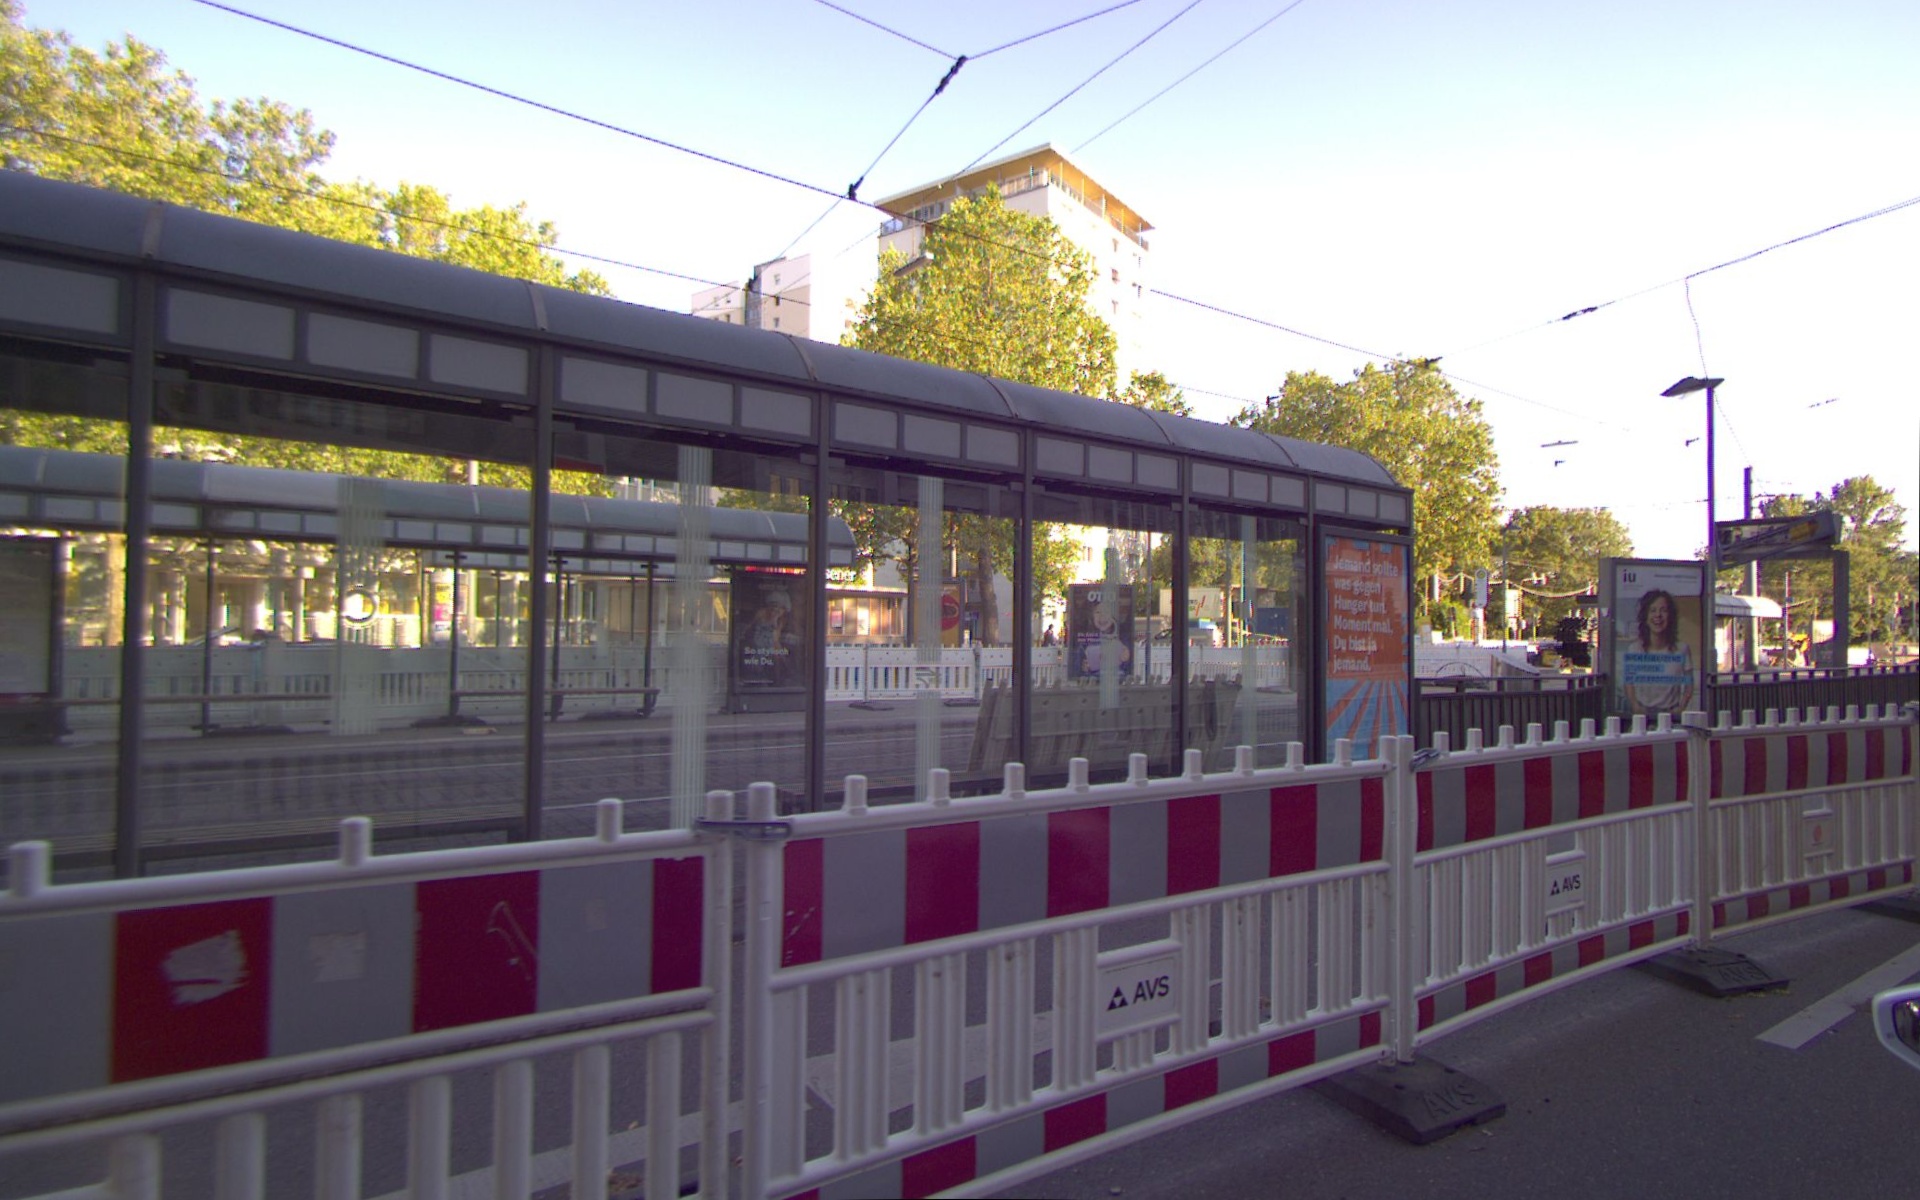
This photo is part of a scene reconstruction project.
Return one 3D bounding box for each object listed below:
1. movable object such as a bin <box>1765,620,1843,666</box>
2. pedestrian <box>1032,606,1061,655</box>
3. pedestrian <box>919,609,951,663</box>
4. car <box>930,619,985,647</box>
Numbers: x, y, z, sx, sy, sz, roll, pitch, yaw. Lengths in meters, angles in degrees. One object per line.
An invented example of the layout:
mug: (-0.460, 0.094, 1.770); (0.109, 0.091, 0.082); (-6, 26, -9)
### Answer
movable object such as a bin: (51.008, 2.582, 60.682); (4.544, 2.674, 2.141); (2, -2, -30)
pedestrian: (3.646, 1.298, 42.547); (0.873, 2.040, 0.881); (1, -2, -28)
pedestrian: (-0.971, 1.376, 38.818); (0.880, 2.040, 0.874); (2, -2, -39)
car: (-0.126, 2.452, 75.175); (1.964, 2.040, 4.905); (0, -2, 30)
